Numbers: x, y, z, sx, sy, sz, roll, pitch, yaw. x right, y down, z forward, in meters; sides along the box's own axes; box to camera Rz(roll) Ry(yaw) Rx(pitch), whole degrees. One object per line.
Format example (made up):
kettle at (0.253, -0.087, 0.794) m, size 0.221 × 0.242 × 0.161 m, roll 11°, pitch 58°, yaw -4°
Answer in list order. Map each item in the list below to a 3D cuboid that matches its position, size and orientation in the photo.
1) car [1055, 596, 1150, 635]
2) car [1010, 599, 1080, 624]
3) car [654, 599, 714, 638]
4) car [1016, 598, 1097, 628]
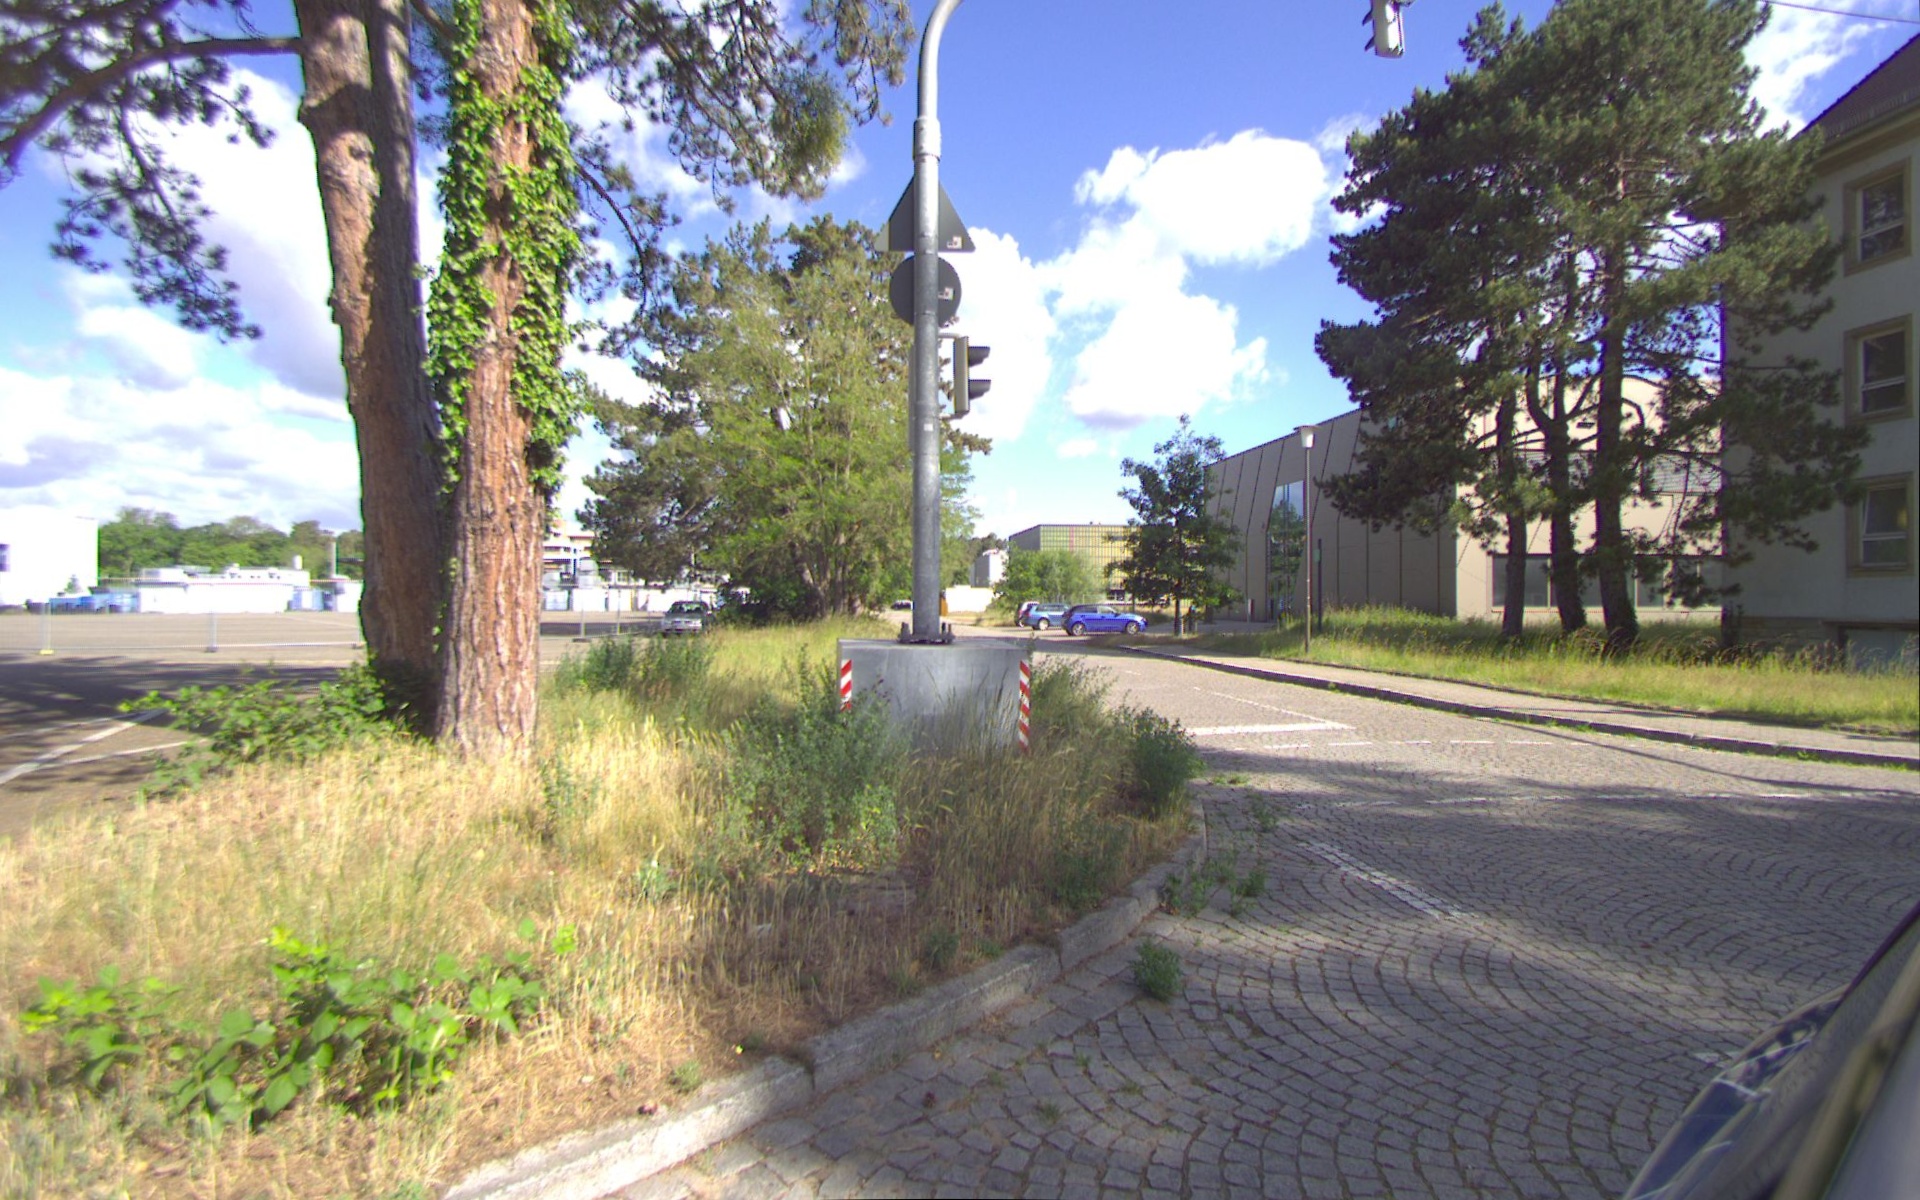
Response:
car at (6.596, 0.700, 47.080) m, size 3.980 × 1.583 × 1.863 m, roll -3°, pitch 0°, yaw -4°
car at (5.352, 0.738, 64.024) m, size 4.140 × 1.584 × 1.783 m, roll 0°, pitch -1°, yaw -7°
car at (-10.832, 0.687, 39.954) m, size 1.710 × 1.440 × 4.005 m, roll 1°, pitch 0°, yaw -7°
car at (5.359, 0.729, 56.479) m, size 4.140 × 1.584 × 1.863 m, roll 0°, pitch -3°, yaw -7°
